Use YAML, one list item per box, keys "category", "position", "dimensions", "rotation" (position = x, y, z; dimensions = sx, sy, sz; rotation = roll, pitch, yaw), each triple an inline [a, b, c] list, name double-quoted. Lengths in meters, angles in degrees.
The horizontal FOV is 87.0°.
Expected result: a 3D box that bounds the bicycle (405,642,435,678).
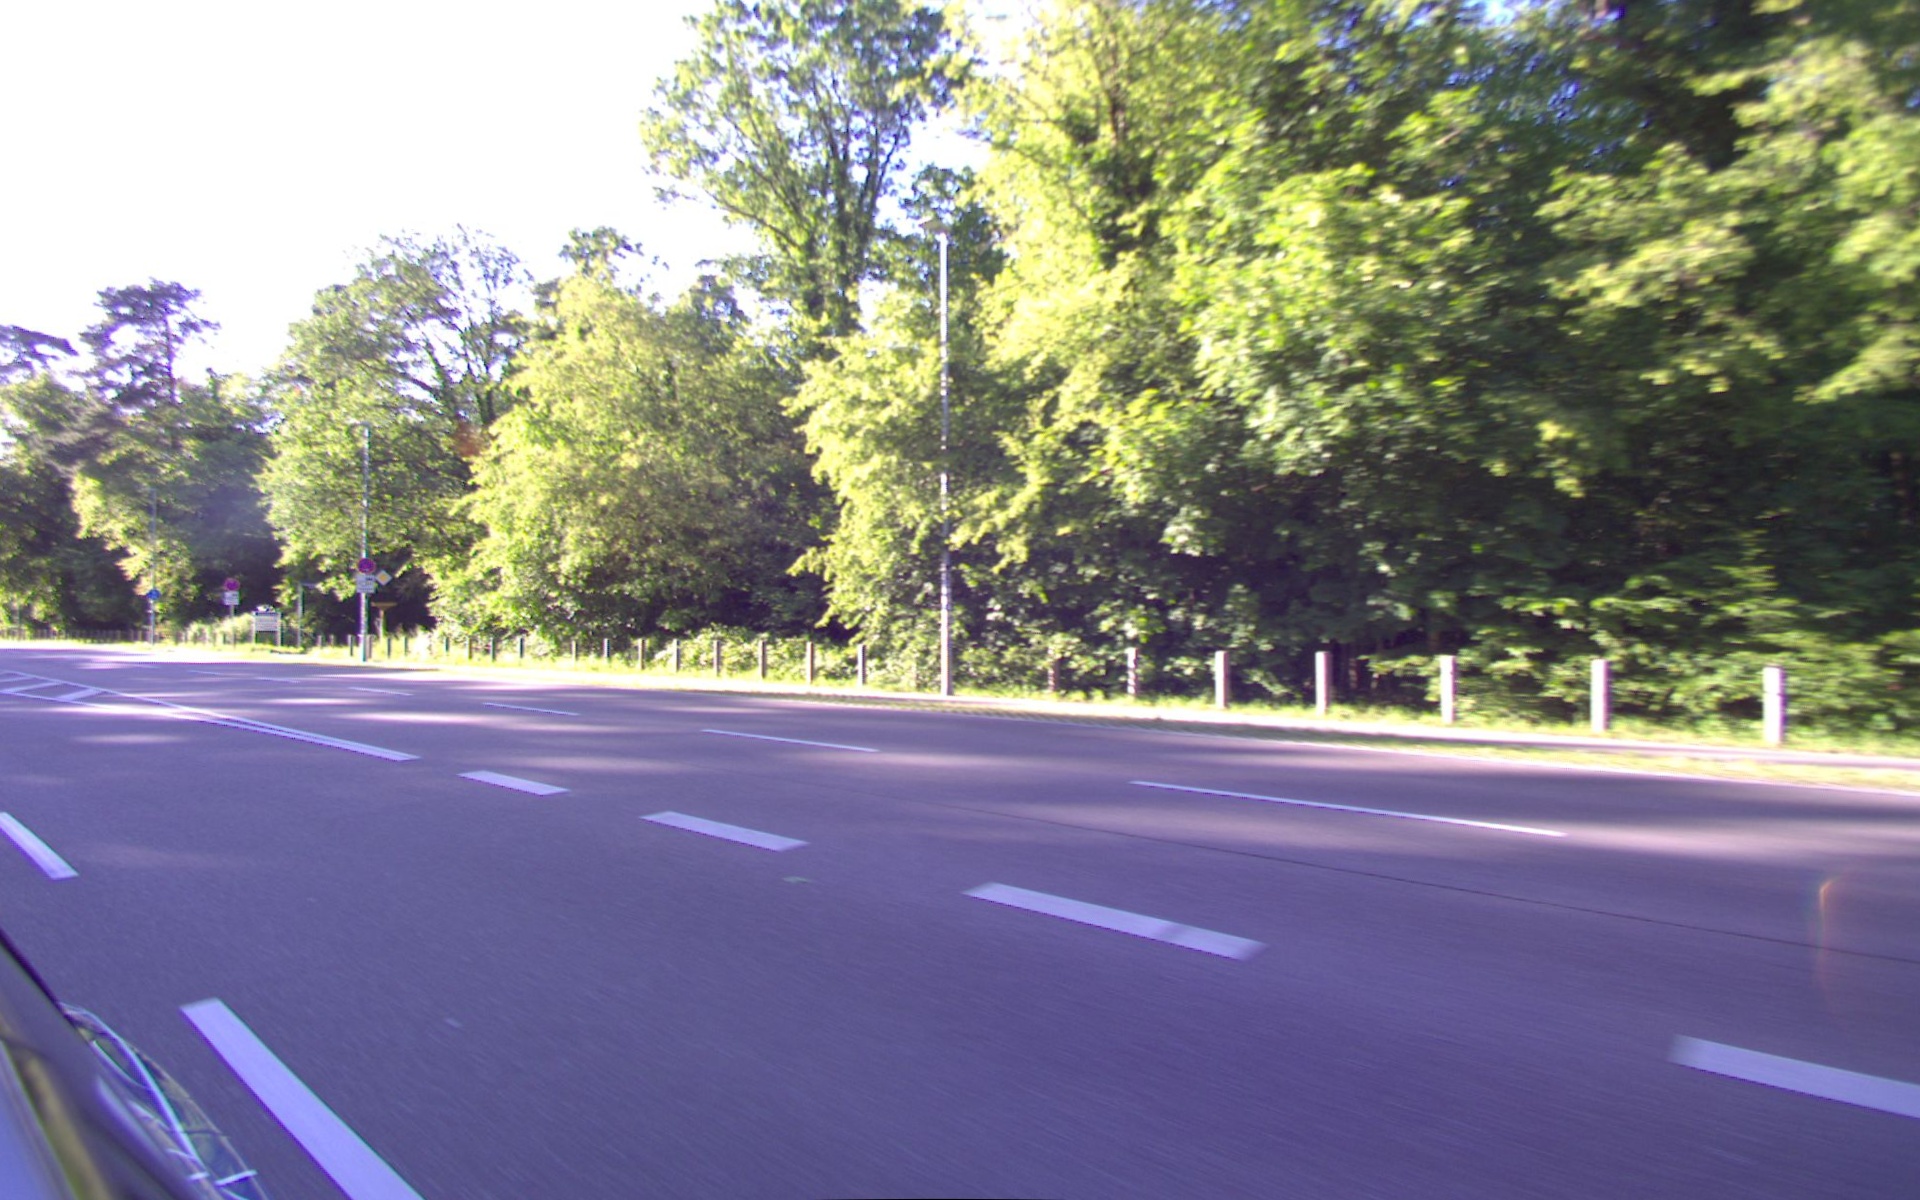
- category: "bicycle"
  position: [-18.549, 2.039, 34.755]
  dimensions: [0.396, 1.140, 2.223]
  rotation: [-1, 0, -41]
